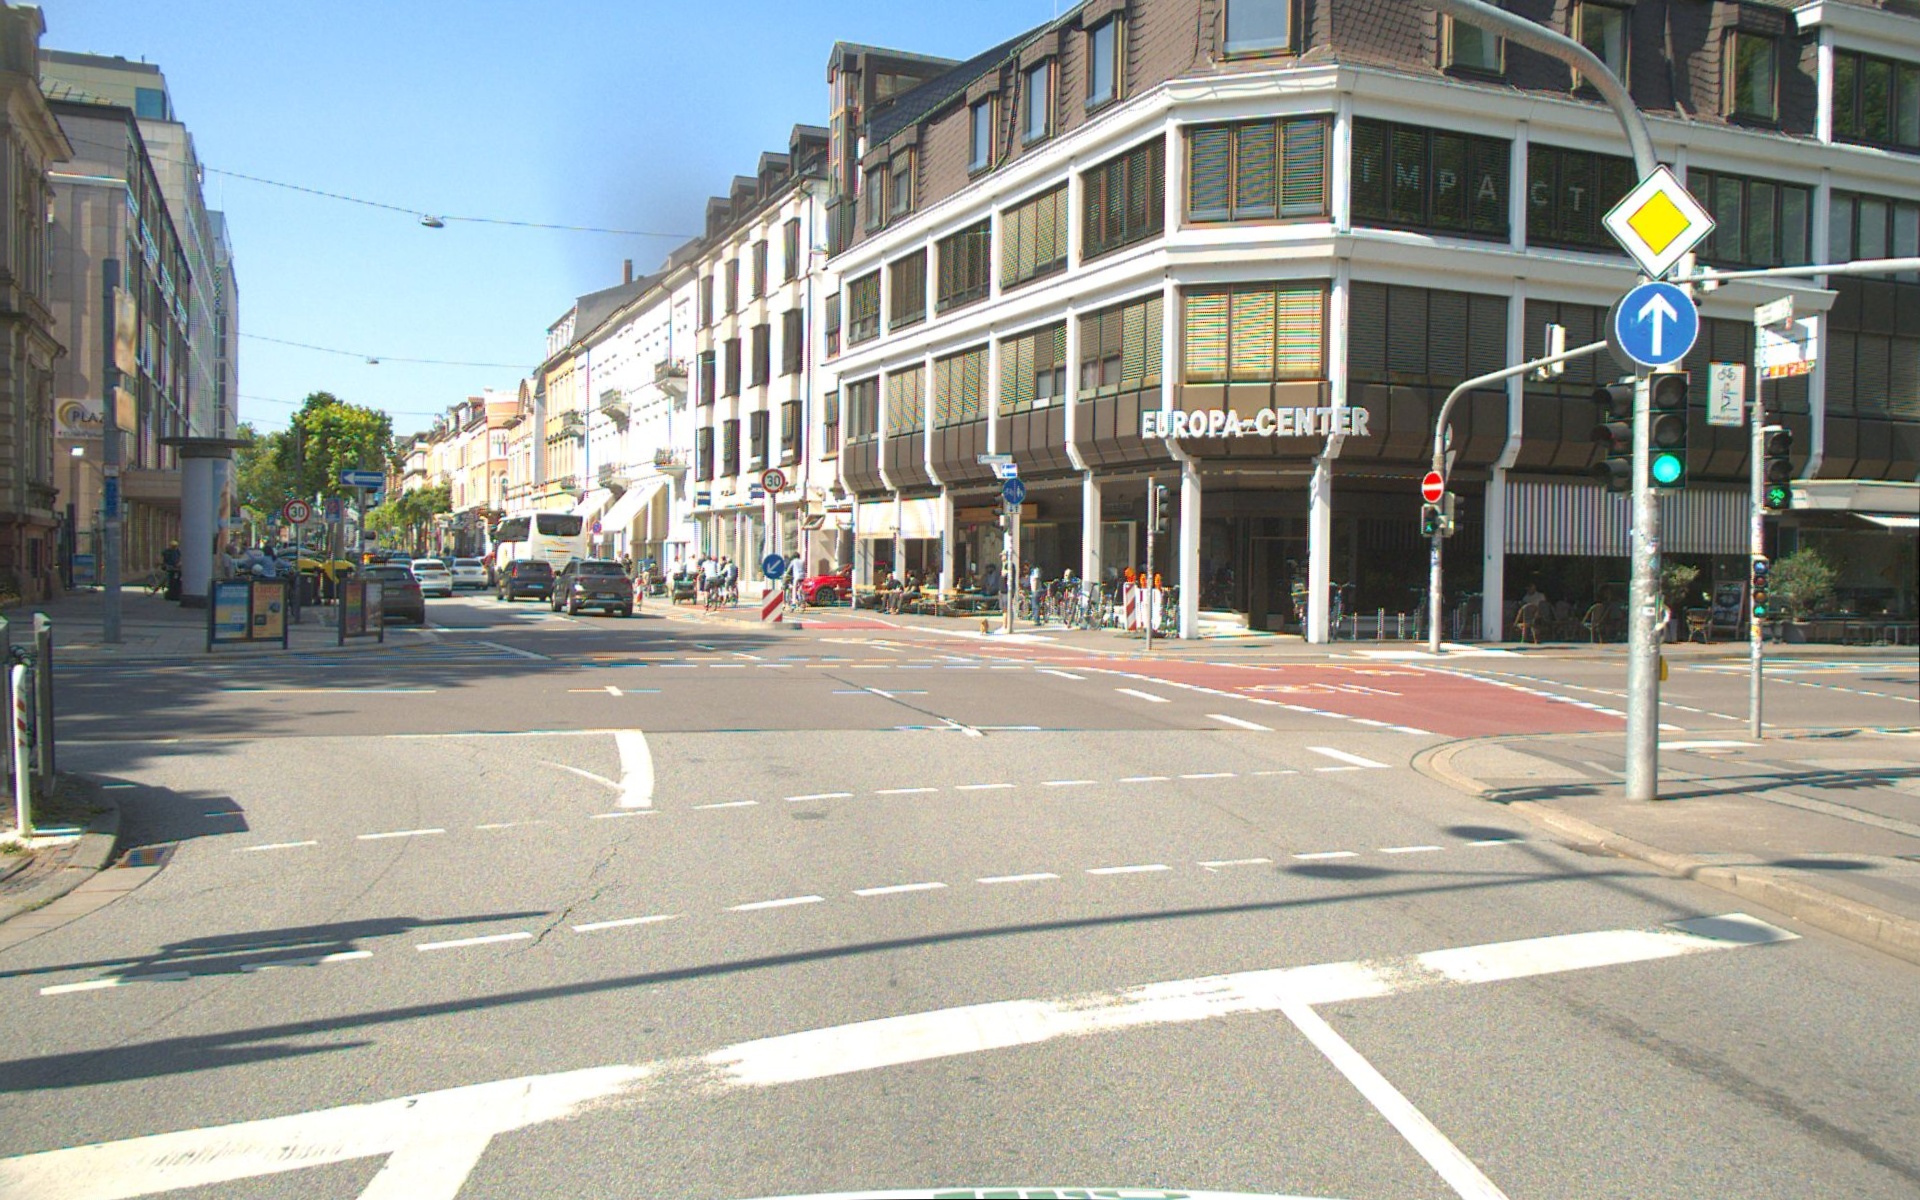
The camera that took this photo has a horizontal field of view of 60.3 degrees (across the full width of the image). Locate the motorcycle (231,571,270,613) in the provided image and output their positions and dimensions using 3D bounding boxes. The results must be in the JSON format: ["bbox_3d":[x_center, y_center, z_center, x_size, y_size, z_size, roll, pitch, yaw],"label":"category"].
[{"bbox_3d":[-17.523,-0.202,40.886,0.446,1.015,2.154,2,0,-13],"label":"motorcycle"}]

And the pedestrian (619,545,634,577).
[{"bbox_3d":[-17.141,-1.991,84.895,0.636,1.645,0.817,0,0,-20],"label":"pedestrian"}]

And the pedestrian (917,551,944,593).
[{"bbox_3d":[-0.990,-0.941,55.718,0.734,1.391,0.580,0,1,-24],"label":"pedestrian"}]

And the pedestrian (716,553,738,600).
[{"bbox_3d":[-8.787,-0.871,62.369,0.612,1.749,0.830,1,1,-23],"label":"pedestrian"}]

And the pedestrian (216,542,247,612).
[{"bbox_3d":[-17.932,-0.561,40.730,0.539,1.694,0.933,0,0,-14],"label":"pedestrian"}]

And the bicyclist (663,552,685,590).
[{"bbox_3d":[-10.546,-1.073,60.987,0.612,1.394,0.775,1,1,-24],"label":"bicyclist"}]

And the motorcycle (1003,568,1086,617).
[{"bbox_3d":[2.293,-0.211,44.731,2.188,1.313,0.949,0,0,5],"label":"motorcycle"}]

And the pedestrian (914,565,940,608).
[{"bbox_3d":[-1.106,-0.451,55.088,0.751,1.391,0.475,0,1,-24],"label":"pedestrian"}]

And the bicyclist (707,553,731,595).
[{"bbox_3d":[-8.185,-0.884,56.139,0.612,1.378,0.840,1,1,-24],"label":"bicyclist"}]

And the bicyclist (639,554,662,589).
[{"bbox_3d":[-12.780,-1.182,68.352,0.777,1.403,0.717,1,1,-24],"label":"bicyclist"}]

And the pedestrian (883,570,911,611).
[{"bbox_3d":[-1.897,-0.279,49.682,0.699,1.238,0.694,0,0,-14],"label":"pedestrian"}]

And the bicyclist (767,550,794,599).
[{"bbox_3d":[-5.749,-0.816,52.990,0.612,1.556,0.863,1,1,-23],"label":"bicyclist"}]

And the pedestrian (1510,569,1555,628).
[{"bbox_3d":[13.611,-0.042,39.333,0.811,1.358,0.969,1,1,31],"label":"pedestrian"}]

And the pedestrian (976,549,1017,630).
[{"bbox_3d":[0.851,-0.242,38.534,0.818,1.868,0.694,0,0,-14],"label":"pedestrian"}]

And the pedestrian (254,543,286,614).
[{"bbox_3d":[-16.911,-0.526,40.550,0.684,1.725,0.687,0,0,-20],"label":"pedestrian"}]

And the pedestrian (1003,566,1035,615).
[{"bbox_3d":[1.724,-0.282,48.426,0.702,1.421,0.691,0,0,-24],"label":"pedestrian"}]

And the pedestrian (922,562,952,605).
[{"bbox_3d":[-0.758,-0.552,54.737,0.865,1.391,0.533,0,1,-24],"label":"pedestrian"}]

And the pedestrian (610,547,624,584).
[{"bbox_3d":[-17.395,-1.739,83.796,0.565,1.809,1.014,0,0,-19],"label":"pedestrian"}]

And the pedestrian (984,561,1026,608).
[{"bbox_3d":[1.347,-0.465,49.303,0.884,1.374,1.097,0,0,-23],"label":"pedestrian"}]

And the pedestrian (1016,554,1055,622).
[{"bbox_3d":[1.908,-0.293,41.759,0.818,1.692,0.694,0,0,-14],"label":"pedestrian"}]

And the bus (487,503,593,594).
[{"bbox_3d":[-19.715,-2.367,77.010,2.843,3.807,12.339,2,1,-23],"label":"bus"}]

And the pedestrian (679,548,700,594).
[{"bbox_3d":[-10.266,-1.096,62.754,0.611,1.749,0.830,0,1,-22],"label":"pedestrian"}]

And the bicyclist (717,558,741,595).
[{"bbox_3d":[-8.151,-0.831,58.428,0.612,1.319,0.860,1,1,-24],"label":"bicyclist"}]

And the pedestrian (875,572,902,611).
[{"bbox_3d":[-2.190,-0.257,50.483,0.699,1.193,0.694,0,0,-14],"label":"pedestrian"}]

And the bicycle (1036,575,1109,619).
[{"bbox_3d":[2.934,-0.070,43.023,2.218,1.116,0.274,0,1,-37],"label":"bicycle"}]

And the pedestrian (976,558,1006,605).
[{"bbox_3d":[0.929,-0.546,50.363,0.702,1.421,0.691,0,0,-24],"label":"pedestrian"}]

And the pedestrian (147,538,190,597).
[{"bbox_3d":[-24.537,-1.012,51.267,0.993,1.804,0.773,0,1,-43],"label":"pedestrian"}]

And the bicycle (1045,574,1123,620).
[{"bbox_3d":[3.197,-0.078,42.466,2.212,1.140,0.275,0,1,-31],"label":"bicycle"}]

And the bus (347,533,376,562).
[{"bbox_3d":[-76.847,-6.740,212.403,2.735,3.667,8.903,0,2,-25],"label":"bus"}]

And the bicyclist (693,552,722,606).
[{"bbox_3d":[-8.217,-0.691,53.747,0.684,1.702,0.910,3,1,-21],"label":"bicyclist"}]

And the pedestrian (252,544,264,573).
[{"bbox_3d":[-40.453,-2.390,95.308,0.559,1.686,0.631,0,2,-28],"label":"pedestrian"}]

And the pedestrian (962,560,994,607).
[{"bbox_3d":[0.554,-0.510,51.112,0.802,1.421,0.691,0,0,-25],"label":"pedestrian"}]

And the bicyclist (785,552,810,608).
[{"bbox_3d":[-4.872,-0.608,49.667,0.682,1.654,0.833,0,1,-10],"label":"bicyclist"}]

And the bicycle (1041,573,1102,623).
[{"bbox_3d":[2.806,-0.049,41.581,1.520,1.228,0.276,1,1,-16],"label":"bicycle"}]
